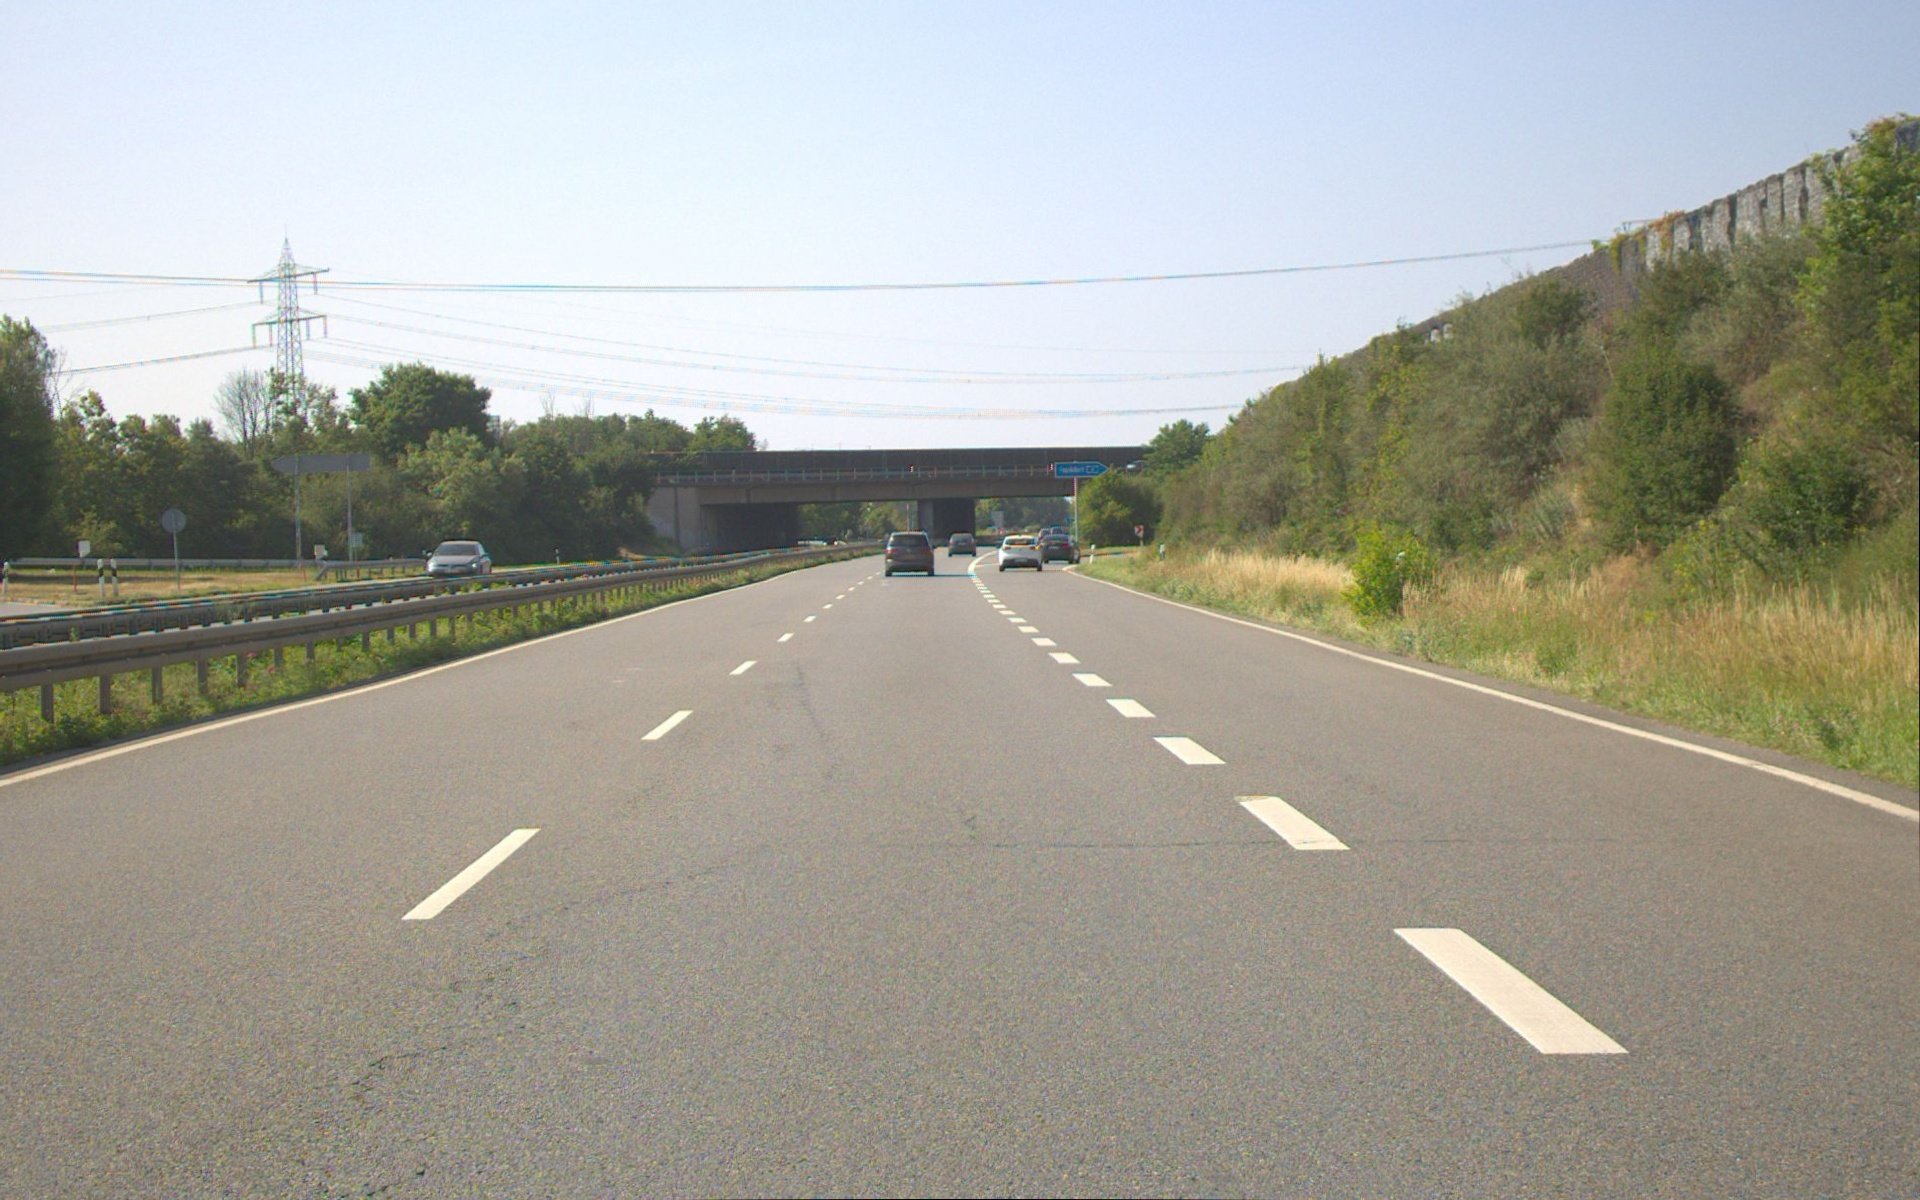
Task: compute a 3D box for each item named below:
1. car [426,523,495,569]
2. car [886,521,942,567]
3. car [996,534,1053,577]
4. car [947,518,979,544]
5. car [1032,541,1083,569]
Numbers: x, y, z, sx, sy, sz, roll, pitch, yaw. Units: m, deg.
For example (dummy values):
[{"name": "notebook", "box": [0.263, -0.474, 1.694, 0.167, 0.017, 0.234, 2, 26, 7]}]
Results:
[{"name": "car", "box": [-16.740, -1.830, 115.422, 1.700, 1.480, 4.621, 2, 1, -1]}, {"name": "car", "box": [-1.663, -2.047, 125.707, 1.850, 1.638, 4.000, 0, 1, 2]}, {"name": "car", "box": [2.625, -1.812, 138.977, 1.797, 1.659, 3.999, 2, 2, 8]}, {"name": "car", "box": [0.187, -4.410, 219.223, 1.850, 1.638, 4.000, 0, 1, 2]}, {"name": "car", "box": [4.895, -2.263, 172.268, 1.902, 1.293, 3.998, 2, 2, 11]}]
